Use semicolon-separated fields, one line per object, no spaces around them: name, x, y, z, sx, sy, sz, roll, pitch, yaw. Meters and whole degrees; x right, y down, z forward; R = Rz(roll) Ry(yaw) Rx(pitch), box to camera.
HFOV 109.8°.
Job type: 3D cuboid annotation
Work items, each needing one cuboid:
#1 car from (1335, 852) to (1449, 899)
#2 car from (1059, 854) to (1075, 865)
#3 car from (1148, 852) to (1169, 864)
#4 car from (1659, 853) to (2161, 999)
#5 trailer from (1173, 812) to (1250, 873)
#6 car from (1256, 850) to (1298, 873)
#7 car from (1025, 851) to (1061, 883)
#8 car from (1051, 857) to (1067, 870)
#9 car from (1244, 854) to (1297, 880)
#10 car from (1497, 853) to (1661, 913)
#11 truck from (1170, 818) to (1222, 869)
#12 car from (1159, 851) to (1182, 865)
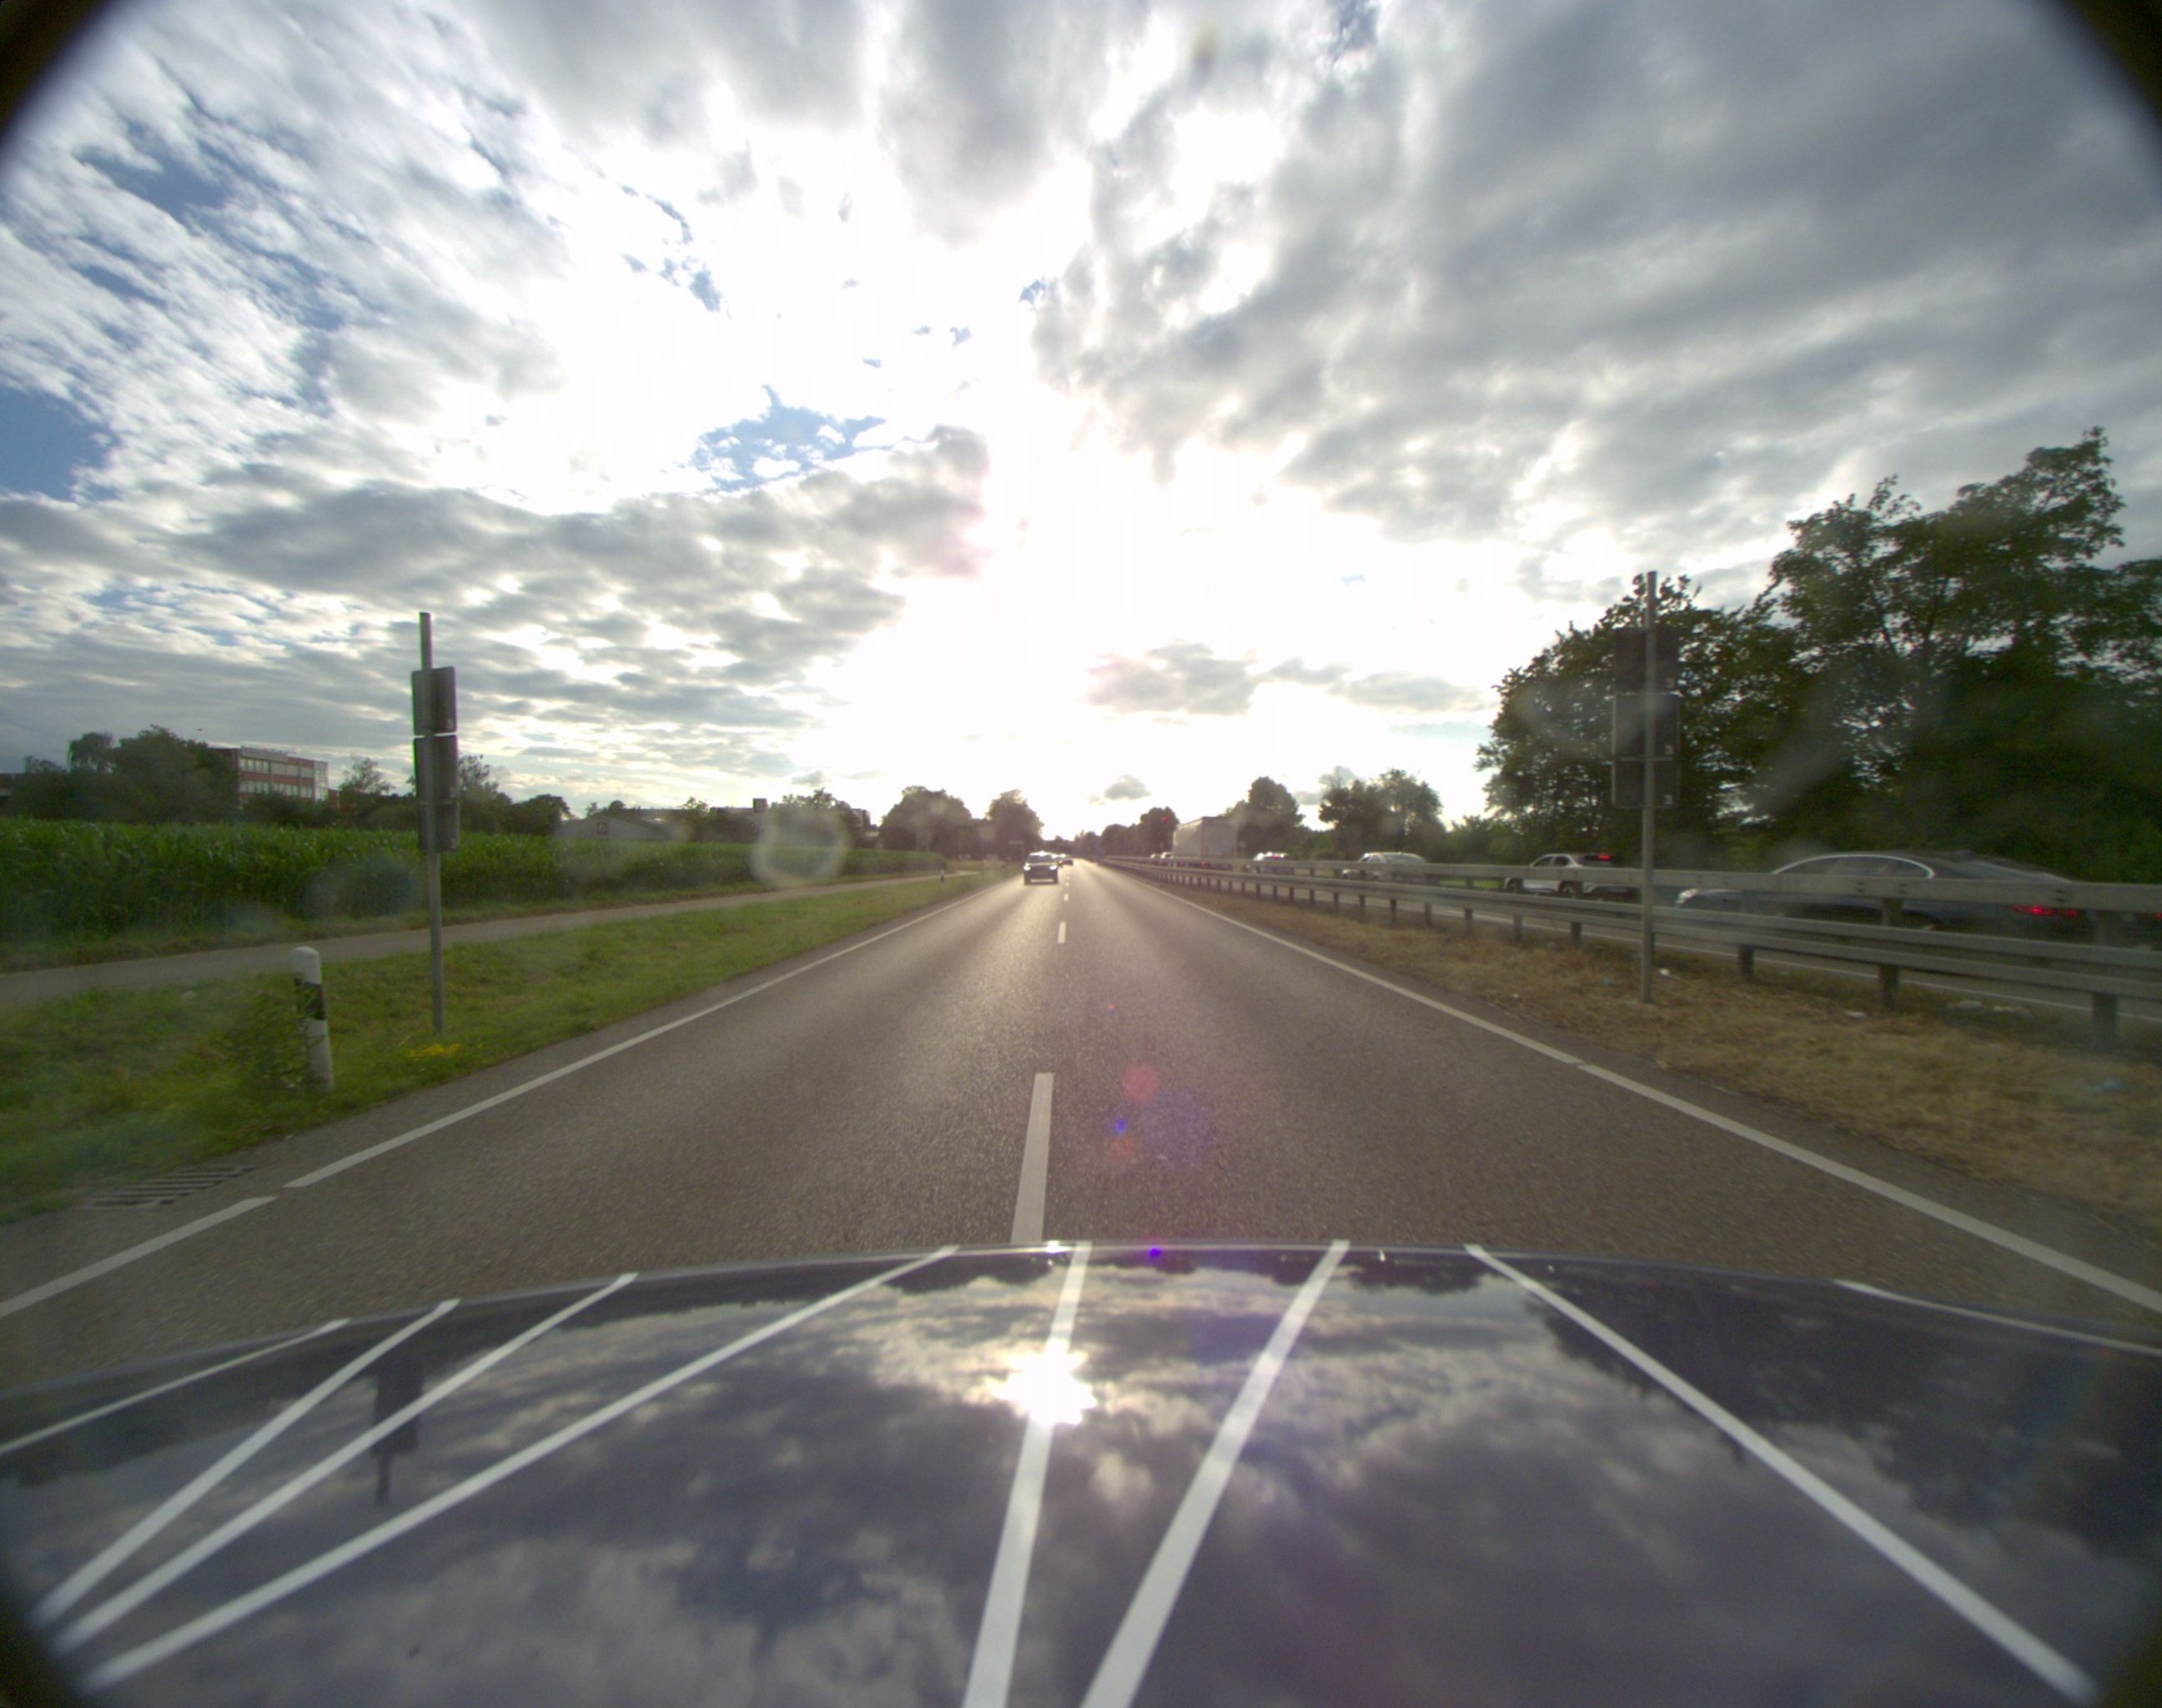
car;10.522;0.664;26.137;1.871;1.469;4.824;0;0;-1
car;-1.833;0.722;103.233;1.998;1.320;4.000;1;0;1
car;9.500;0.447;93.345;1.912;1.420;5.151;0;0;-1
car;10.568;0.730;10.149;1.871;1.469;4.934;0;0;-1
trailer;9.970;-0.838;60.038;3.474;4.126;13.914;1;0;-1
car;13.819;0.483;53.752;1.793;1.564;4.159;0;0;-1
car;-2.090;0.673;42.865;1.849;1.640;4.480;-2;0;-1
car;-2.523;1.080;89.455;1.667;1.424;3.994;-2;0;1
car;10.379;0.691;41.874;1.793;1.378;4.159;0;0;-1
car;13.940;0.744;21.596;1.871;1.555;4.151;0;0;-1
truck;9.896;-0.877;66.202;3.483;4.126;6.048;1;1;-1
car;9.836;0.425;83.881;1.912;1.600;4.404;0;0;-1
